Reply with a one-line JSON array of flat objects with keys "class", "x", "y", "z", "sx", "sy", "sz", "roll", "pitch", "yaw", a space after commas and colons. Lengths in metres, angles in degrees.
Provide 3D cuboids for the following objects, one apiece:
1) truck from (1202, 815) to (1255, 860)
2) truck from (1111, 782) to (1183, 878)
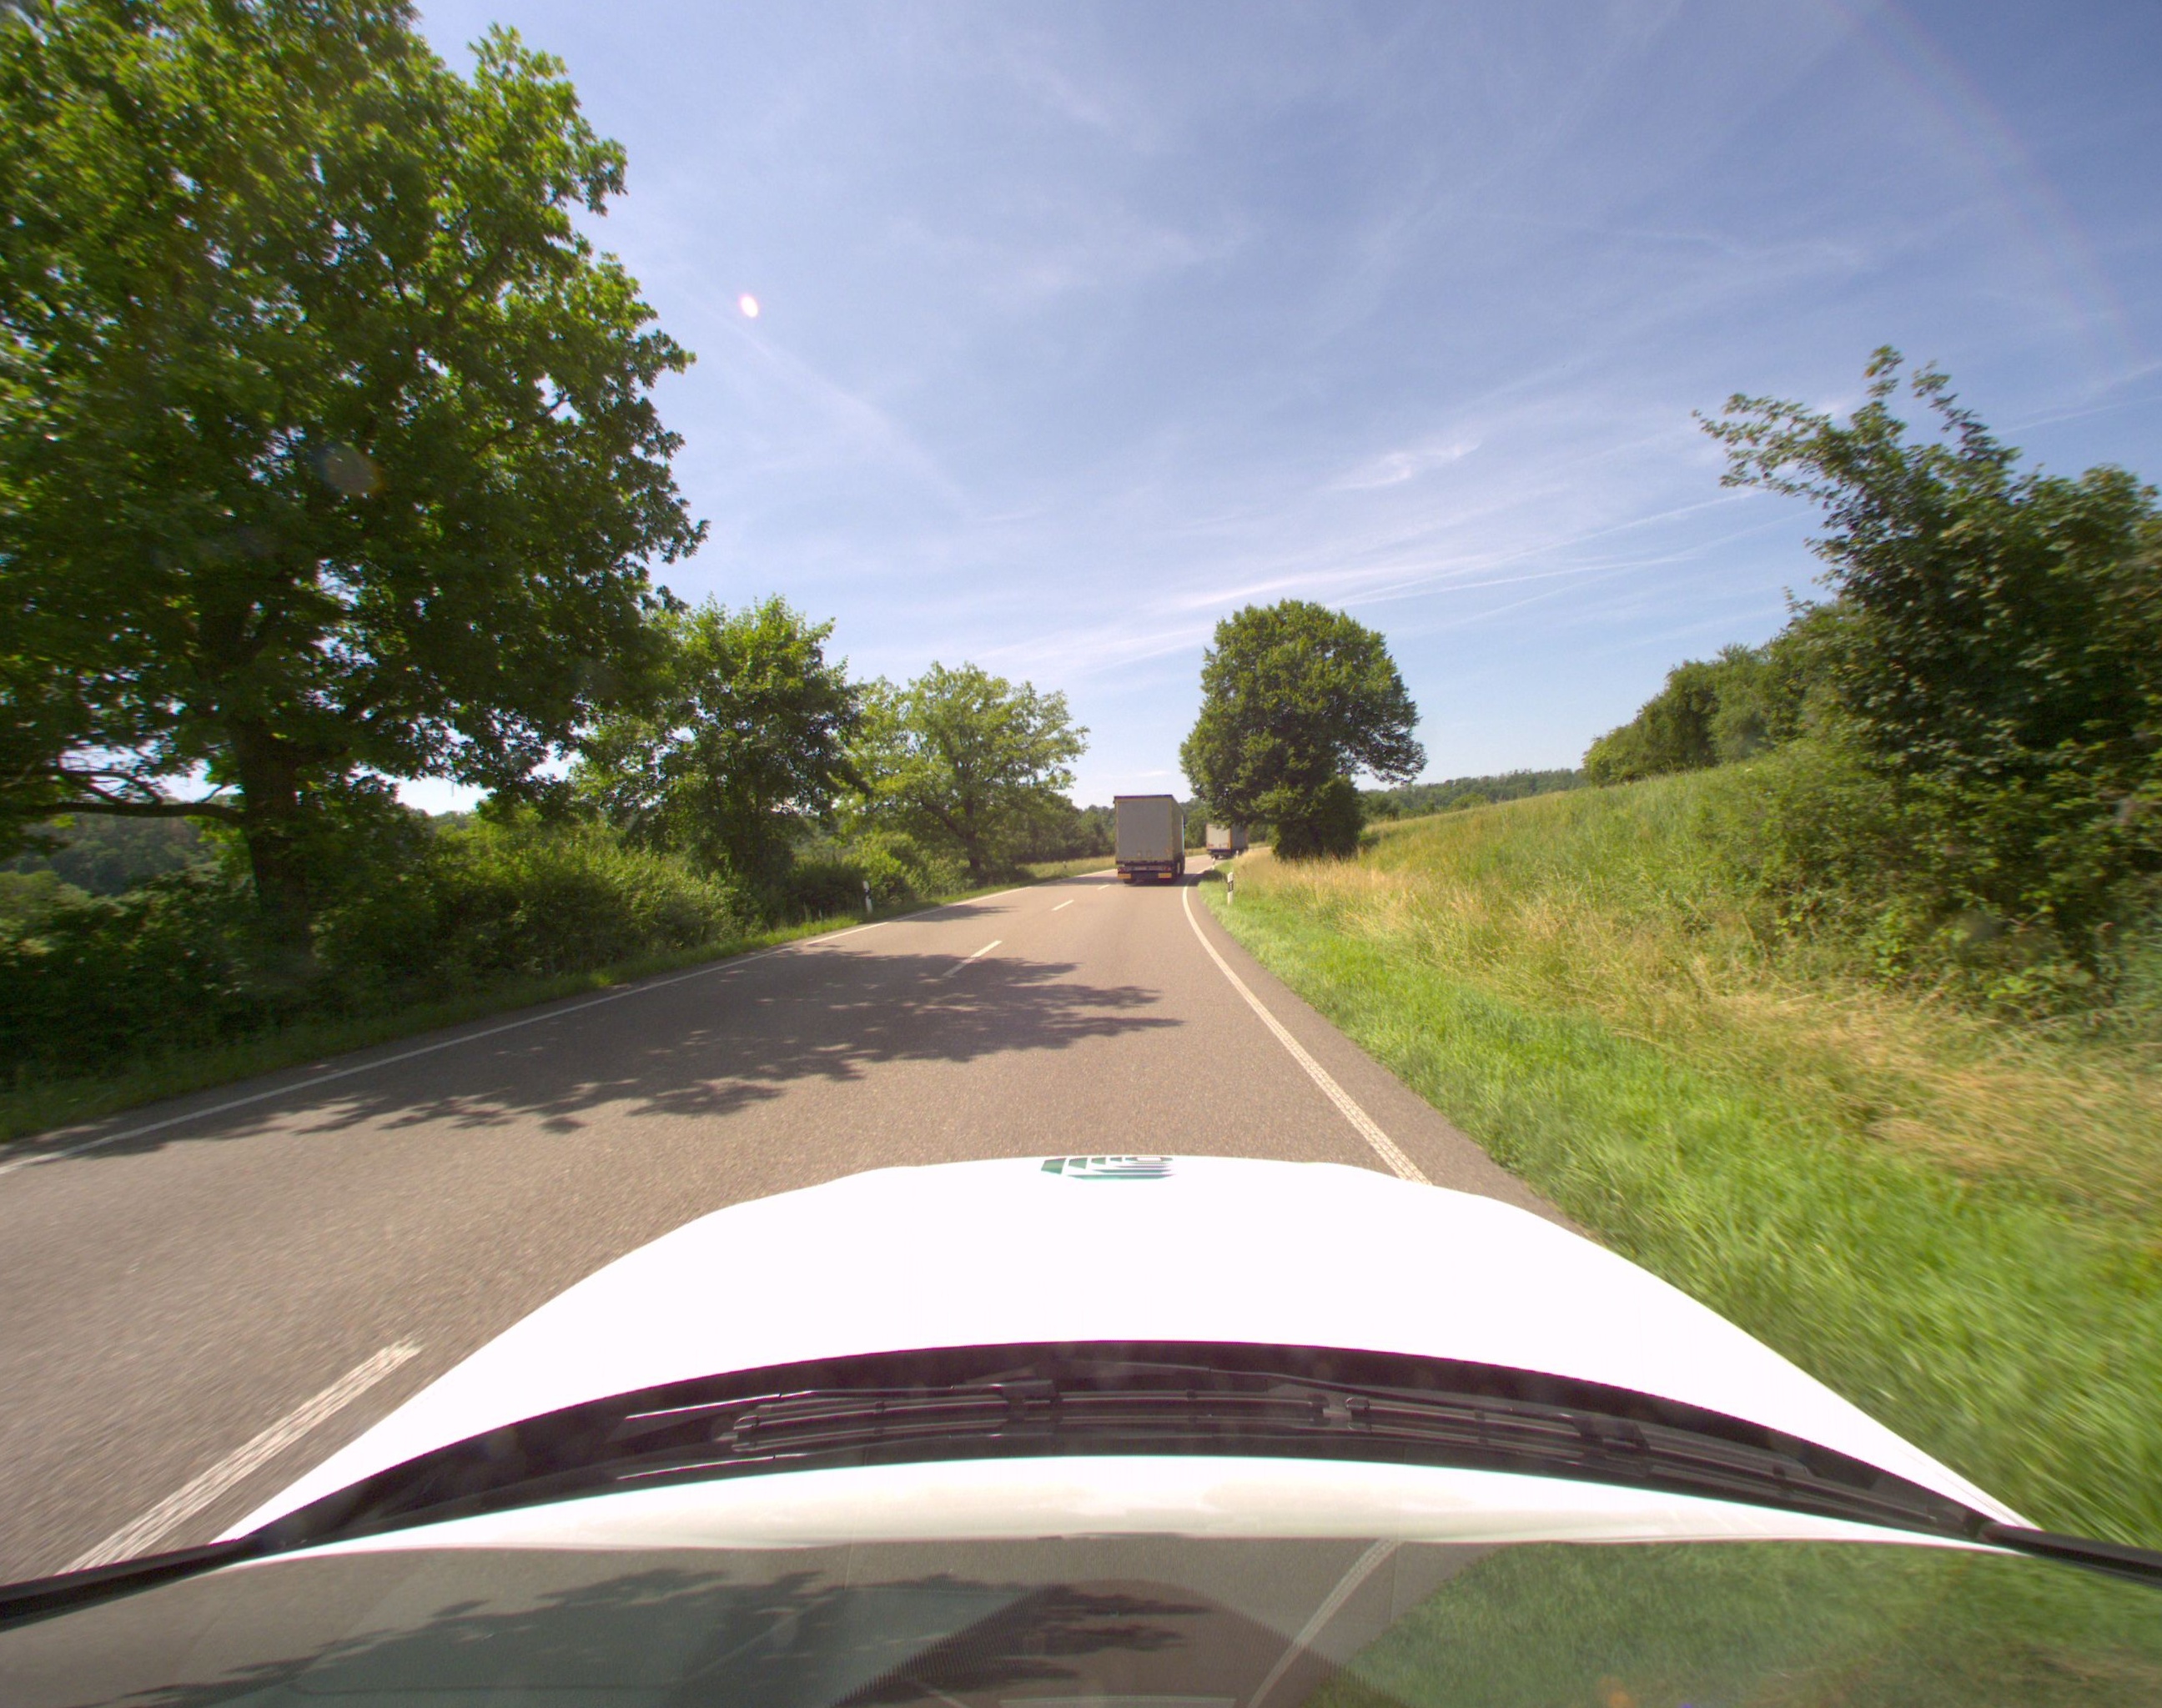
[{"class": "truck", "x": 17.324, "y": -1.896, "z": 94.438, "sx": 3.079, "sy": 4.705, "sz": 16.674, "roll": -2, "pitch": 0, "yaw": 20}, {"class": "truck", "x": 3.828, "y": -1.113, "z": 43.035, "sx": 2.786, "sy": 4.068, "sz": 15.360, "roll": -1, "pitch": 0, "yaw": 8}]
